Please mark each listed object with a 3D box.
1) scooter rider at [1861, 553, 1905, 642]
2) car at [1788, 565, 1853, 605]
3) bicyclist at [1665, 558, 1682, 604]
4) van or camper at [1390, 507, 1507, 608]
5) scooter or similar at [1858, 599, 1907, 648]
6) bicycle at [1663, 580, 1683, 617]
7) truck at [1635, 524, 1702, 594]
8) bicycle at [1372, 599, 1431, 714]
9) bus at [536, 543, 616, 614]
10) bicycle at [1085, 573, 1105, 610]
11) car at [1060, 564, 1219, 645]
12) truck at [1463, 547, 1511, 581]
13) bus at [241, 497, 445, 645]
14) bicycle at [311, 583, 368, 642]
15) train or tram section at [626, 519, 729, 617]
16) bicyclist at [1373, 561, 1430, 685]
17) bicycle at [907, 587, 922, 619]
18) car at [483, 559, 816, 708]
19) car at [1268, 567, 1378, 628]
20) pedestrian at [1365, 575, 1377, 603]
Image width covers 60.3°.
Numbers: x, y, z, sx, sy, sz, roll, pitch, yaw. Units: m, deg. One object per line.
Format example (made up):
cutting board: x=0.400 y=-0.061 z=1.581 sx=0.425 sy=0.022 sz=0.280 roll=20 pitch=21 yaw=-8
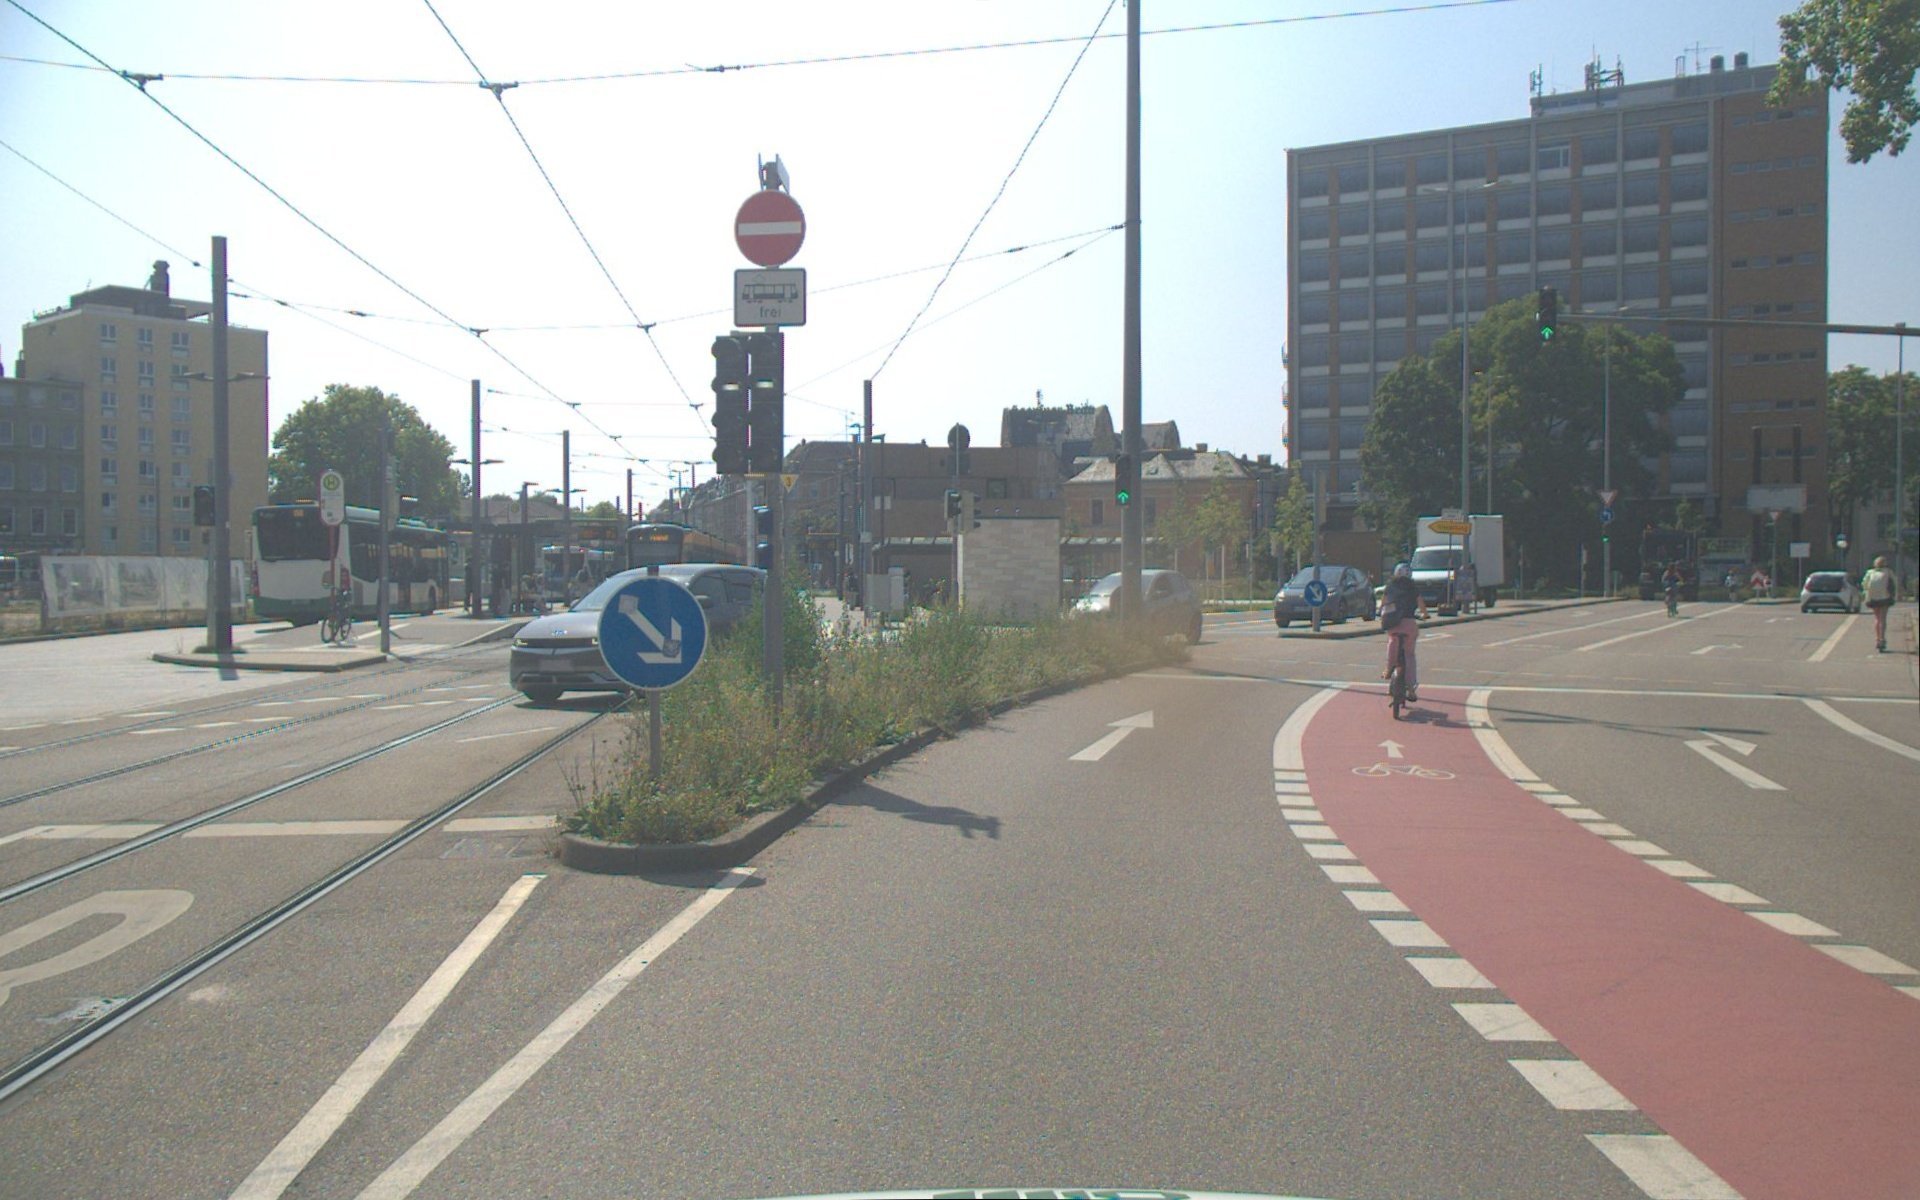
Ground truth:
scooter rider: x=19.025 y=-0.063 z=34.091 sx=0.749 sy=1.806 sz=0.553 roll=0 pitch=1 yaw=35
car: x=31.497 y=-0.556 z=60.488 sx=1.809 sy=1.415 sz=3.990 roll=0 pitch=1 yaw=32
bicyclist: x=22.558 y=-0.589 z=52.320 sx=0.441 sy=1.446 sz=0.495 roll=-1 pitch=0 yaw=29
van or camper: x=17.447 y=-1.462 z=58.770 sx=2.355 sy=3.364 sz=7.177 roll=0 pitch=1 yaw=30
scooter or similar: x=18.944 y=0.476 z=33.943 sx=0.759 sy=0.942 sz=1.615 roll=1 pitch=1 yaw=34
bicycle: x=22.530 y=-0.050 z=52.250 sx=0.435 sy=1.136 sz=1.444 roll=-1 pitch=1 yaw=28
truck: x=32.149 y=-1.815 z=74.916 sx=2.642 sy=3.042 sz=5.963 roll=0 pitch=0 yaw=24
bicycle: x=4.912 y=0.599 z=18.452 sx=0.591 sy=1.183 sz=1.812 roll=0 pitch=1 yaw=14
bus: x=-21.707 y=-1.217 z=93.999 sx=2.656 sy=3.792 sz=10.412 roll=0 pitch=1 yaw=-3
bicycle: x=4.504 y=-0.292 z=55.149 sx=0.591 sy=1.232 sz=1.812 roll=0 pitch=1 yaw=6
car: x=3.771 y=0.054 z=34.063 sx=1.620 sy=1.557 sz=4.316 roll=0 pitch=1 yaw=31
truck: x=24.755 y=-1.667 z=77.630 sx=1.525 sy=1.530 sz=3.615 roll=0 pitch=1 yaw=28
bus: x=-17.778 y=-0.810 z=48.558 sx=2.900 sy=3.840 sz=10.585 roll=0 pitch=1 yaw=-5
bicycle: x=-13.328 y=0.254 z=35.557 sx=0.595 sy=1.244 sz=1.705 roll=0 pitch=1 yaw=-1
train or tram section: x=-11.598 y=-1.262 z=69.593 sx=2.801 sy=3.610 sz=17.724 roll=0 pitch=1 yaw=-5
bicyclist: x=4.909 y=0.246 z=18.414 sx=0.590 sy=1.358 sz=0.660 roll=0 pitch=1 yaw=14
bicycle: x=-1.525 y=0.088 z=54.846 sx=0.455 sy=1.050 sz=1.547 roll=0 pitch=0 yaw=-3
car: x=-3.693 y=0.329 z=20.618 sx=1.736 sy=1.638 sz=4.671 roll=0 pitch=1 yaw=24
car: x=9.670 y=-0.096 z=43.845 sx=1.665 sy=1.557 sz=4.175 roll=0 pitch=1 yaw=30
pedestrian: x=23.230 y=-0.599 z=93.557 sx=0.521 sy=1.579 sz=0.415 roll=-1 pitch=0 yaw=-16
